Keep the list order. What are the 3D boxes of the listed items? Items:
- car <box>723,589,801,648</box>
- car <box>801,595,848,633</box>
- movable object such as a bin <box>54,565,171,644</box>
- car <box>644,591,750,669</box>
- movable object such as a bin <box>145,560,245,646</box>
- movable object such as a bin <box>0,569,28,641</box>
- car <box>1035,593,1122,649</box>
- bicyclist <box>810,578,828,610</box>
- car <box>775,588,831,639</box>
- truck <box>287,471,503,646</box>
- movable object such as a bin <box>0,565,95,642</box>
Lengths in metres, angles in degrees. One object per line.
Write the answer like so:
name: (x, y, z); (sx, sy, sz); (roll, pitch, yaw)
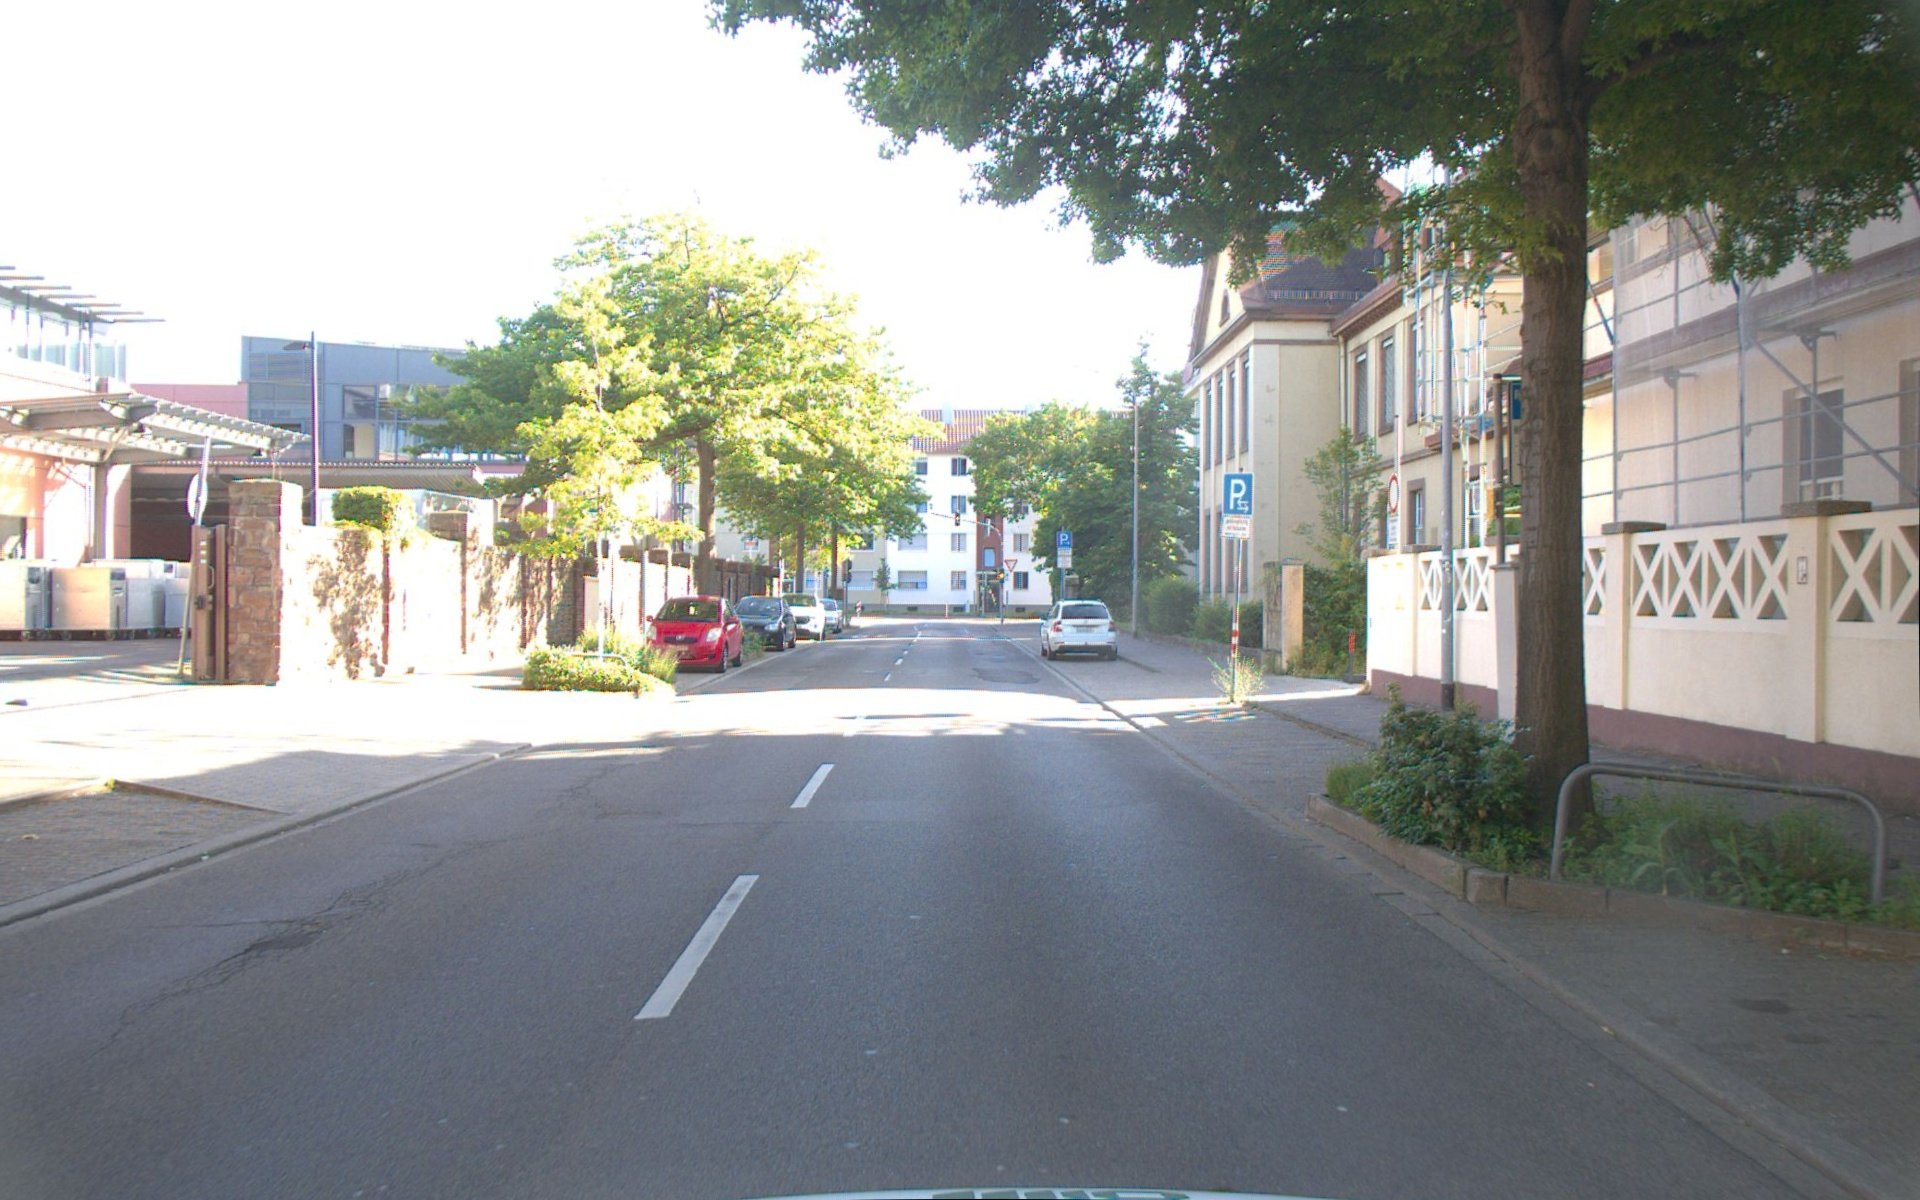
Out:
car: (-5.641, 0.506, 47.542); (1.701, 1.620, 4.107); (0, 0, 1)
car: (-5.769, 0.574, 70.860); (1.691, 1.501, 4.477); (2, 0, -1)
movable object such as a bin: (-18.475, 0.099, 36.160); (1.299, 1.625, 2.553); (2, 0, -3)
car: (-5.401, 0.586, 34.371); (1.576, 1.484, 3.708); (2, 0, 0)
movable object such as a bin: (-17.862, 0.064, 38.710); (1.167, 1.897, 2.438); (2, 0, -1)
movable object such as a bin: (-21.319, 0.087, 35.354); (1.380, 1.565, 2.553); (2, 0, -3)
car: (2.975, 0.501, 42.236); (1.795, 1.346, 4.495); (-1, 0, -1)
bicyclist: (-7.828, -0.343, 91.753); (0.782, 1.788, 0.603); (1, 0, -42)
car: (-5.509, 0.448, 58.350); (1.685, 1.713, 4.349); (0, 0, -2)
truck: (-13.466, -0.923, 40.158); (2.677, 3.776, 7.427); (2, 0, -1)
movable object such as a bin: (-19.872, 0.054, 35.454); (1.380, 1.565, 2.553); (2, 0, -3)
